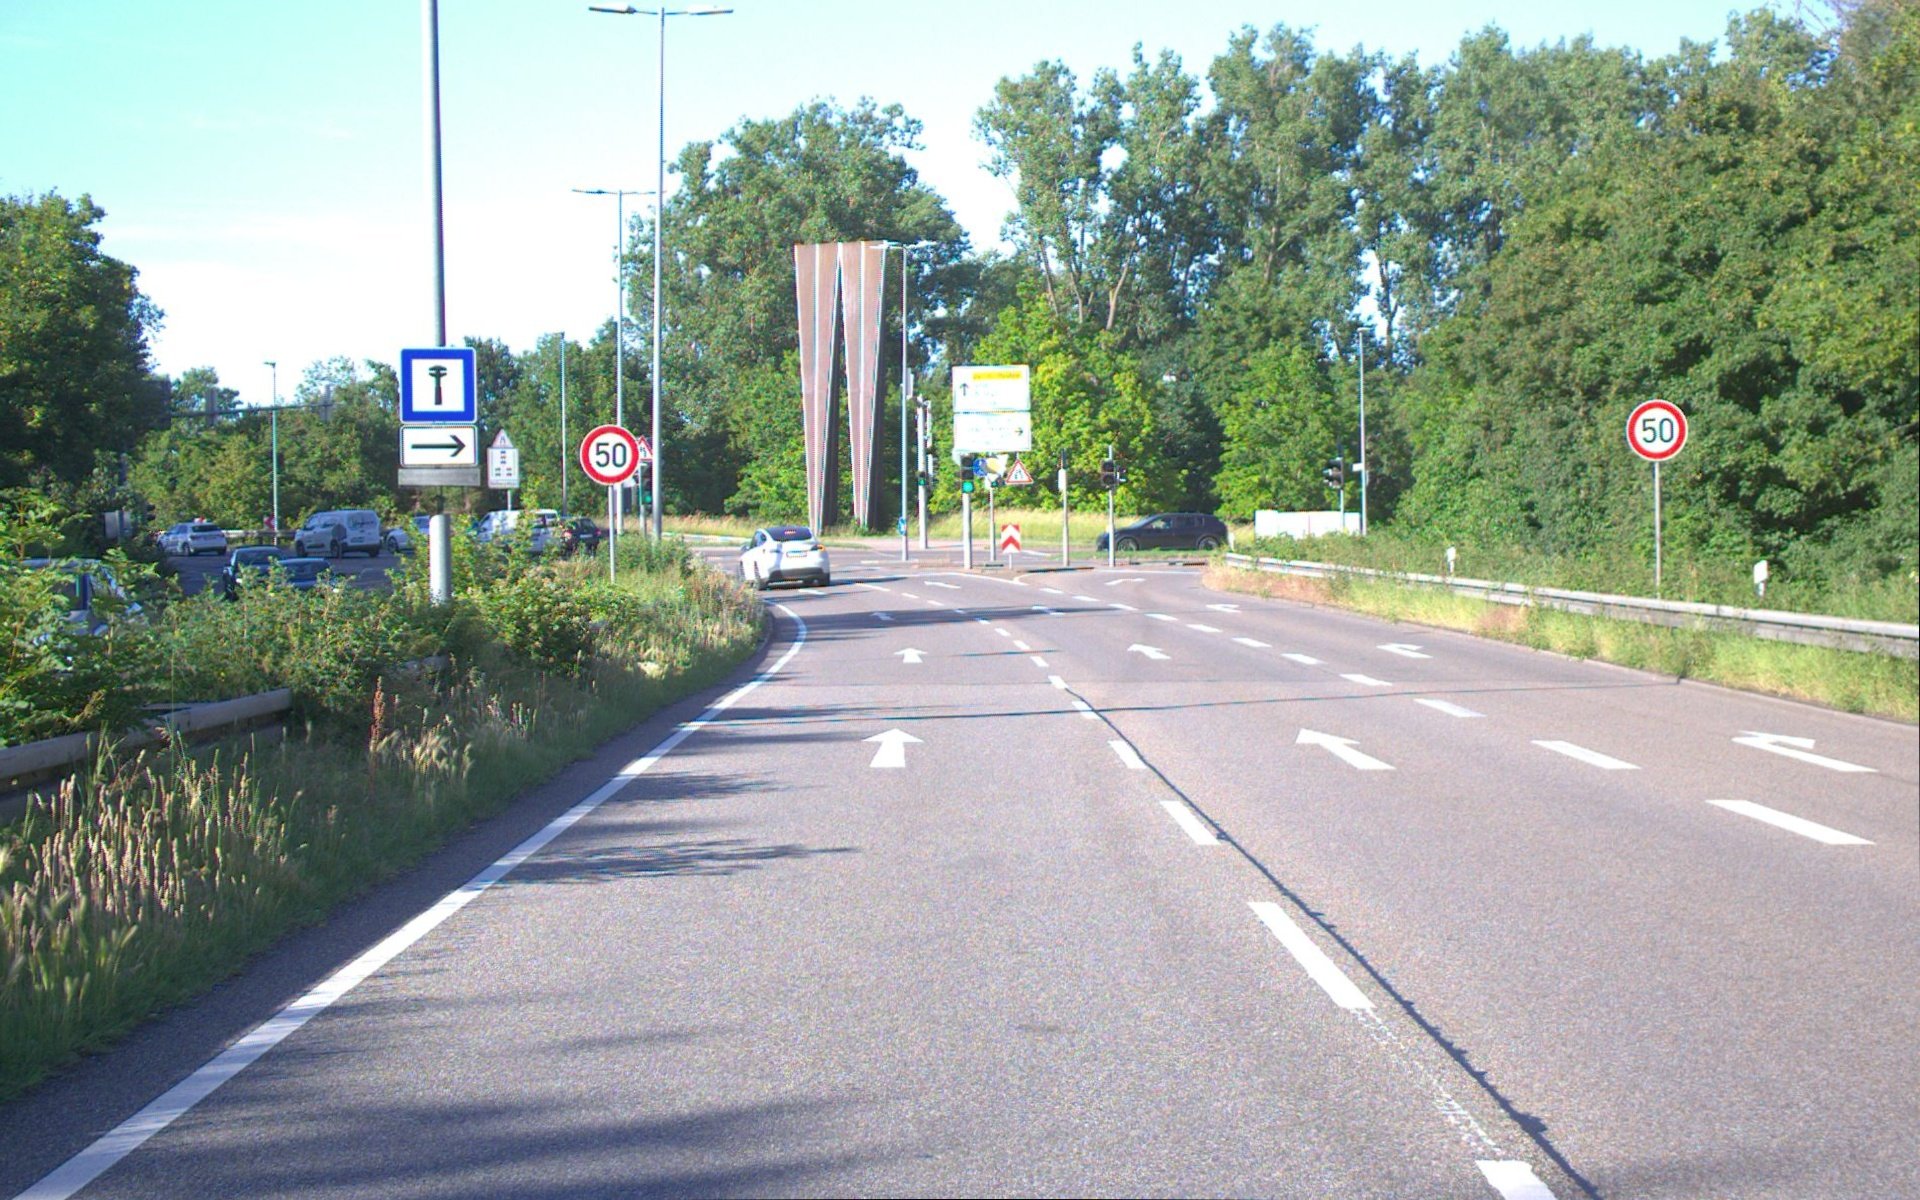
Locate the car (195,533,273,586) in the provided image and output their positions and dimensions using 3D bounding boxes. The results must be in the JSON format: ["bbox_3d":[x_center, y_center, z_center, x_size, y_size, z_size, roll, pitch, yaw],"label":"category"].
[{"bbox_3d":[-21.028,-1.177,99.455,1.885,1.415,4.366,-3,1,-15],"label":"car"}]

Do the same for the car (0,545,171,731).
[{"bbox_3d":[-8.575,0.306,31.546,1.769,1.564,4.219,-2,1,-2],"label":"car"}]

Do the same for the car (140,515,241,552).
[{"bbox_3d":[-32.441,-2.810,144.907,3.997,1.503,2.268,0,2,42],"label":"car"}]

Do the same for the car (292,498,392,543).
[{"bbox_3d":[-24.120,-3.120,134.124,1.970,1.692,3.998,-3,3,-43],"label":"car"}]

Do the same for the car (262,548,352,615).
[{"bbox_3d":[-14.861,-0.449,78.422,1.804,1.412,4.533,-2,1,-9],"label":"car"}]

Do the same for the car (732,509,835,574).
[{"bbox_3d":[-4.716,-1.583,91.278,1.993,1.634,4.129,-2,2,-13],"label":"car"}]

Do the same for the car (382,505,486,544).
[{"bbox_3d":[-20.752,-2.985,135.526,1.970,1.469,4.152,-3,3,-45],"label":"car"}]

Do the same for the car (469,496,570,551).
[{"bbox_3d":[-15.685,-2.730,122.285,1.993,1.873,4.249,-2,2,-31],"label":"car"}]
